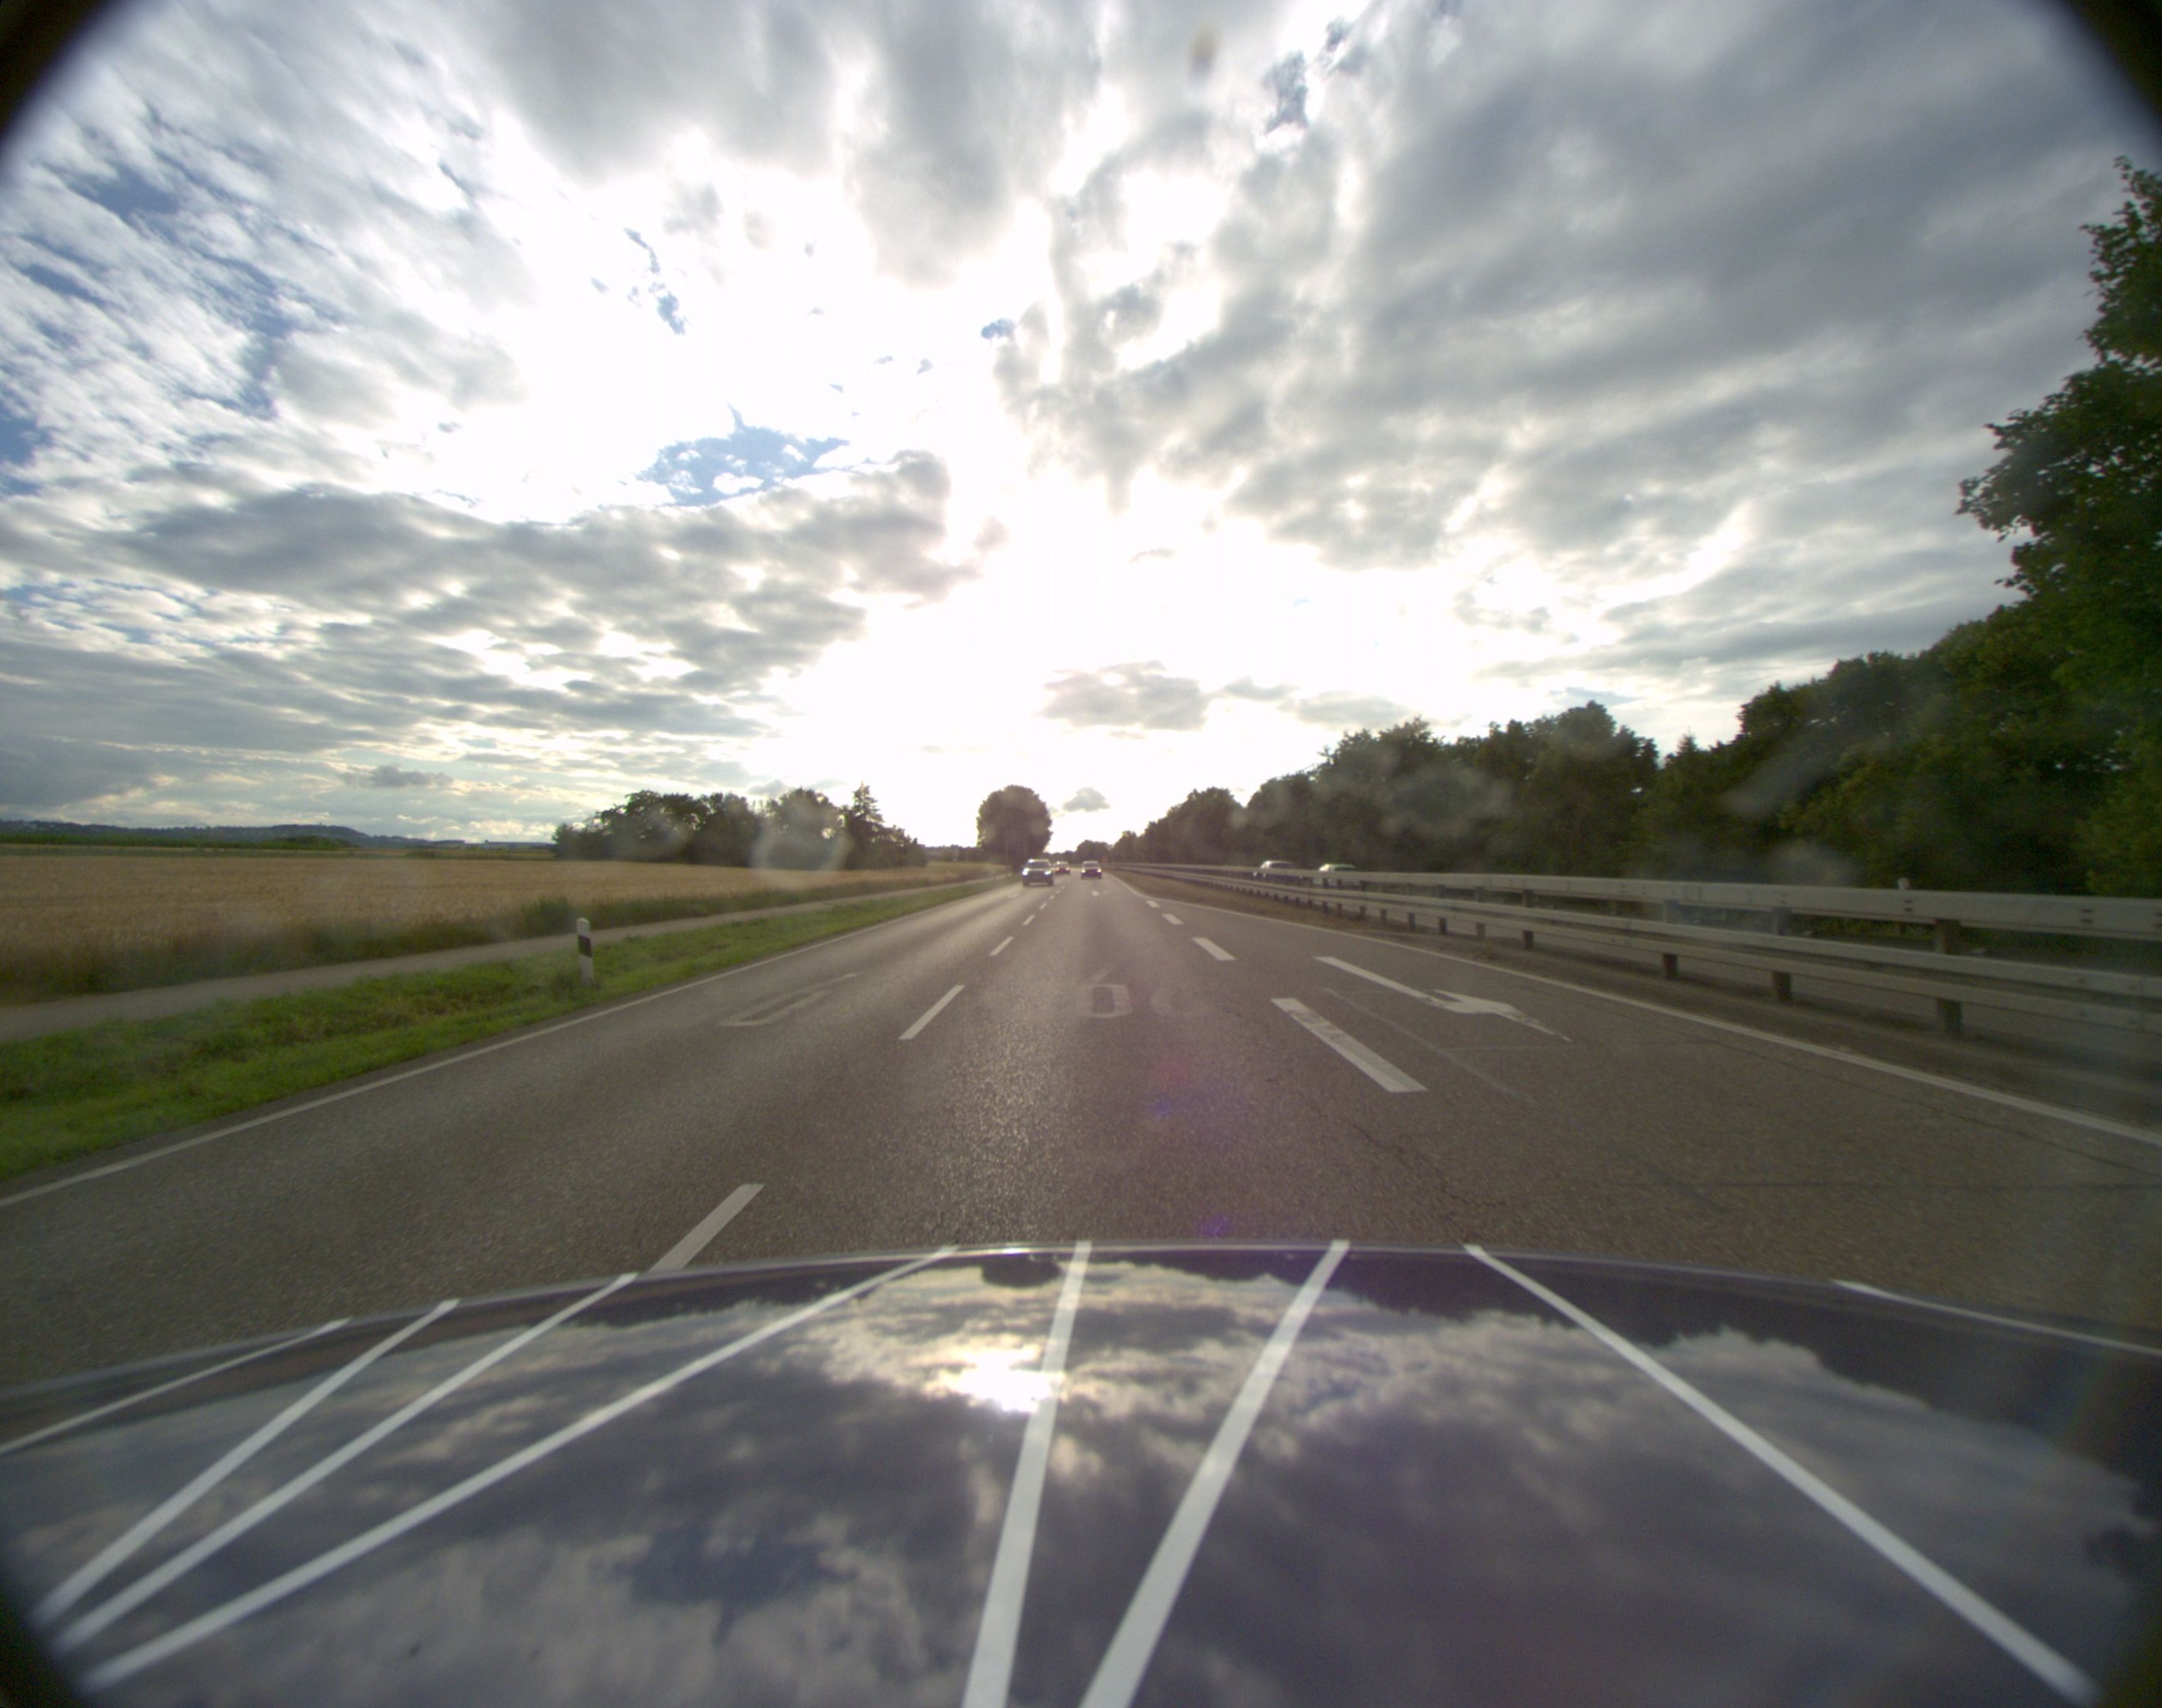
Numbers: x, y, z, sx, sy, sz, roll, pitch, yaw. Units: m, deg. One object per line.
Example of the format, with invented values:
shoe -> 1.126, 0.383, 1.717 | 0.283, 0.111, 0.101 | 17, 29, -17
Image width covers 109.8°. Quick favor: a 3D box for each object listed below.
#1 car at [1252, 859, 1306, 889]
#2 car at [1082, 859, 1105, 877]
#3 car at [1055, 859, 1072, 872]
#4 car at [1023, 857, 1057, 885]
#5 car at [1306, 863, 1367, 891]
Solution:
car -> 9.954, 0.995, 38.523 | 1.773, 1.459, 3.712 | 0, 0, 0
car -> 1.031, 1.141, 63.588 | 1.775, 1.388, 4.000 | -1, 0, -1
car -> -1.999, 1.274, 88.194 | 1.823, 1.409, 4.000 | -1, 0, 0
car -> -2.583, 1.057, 49.057 | 1.863, 1.636, 4.000 | -1, 0, 1
car -> 13.540, 1.175, 40.583 | 1.763, 1.404, 4.459 | 0, 0, 0
